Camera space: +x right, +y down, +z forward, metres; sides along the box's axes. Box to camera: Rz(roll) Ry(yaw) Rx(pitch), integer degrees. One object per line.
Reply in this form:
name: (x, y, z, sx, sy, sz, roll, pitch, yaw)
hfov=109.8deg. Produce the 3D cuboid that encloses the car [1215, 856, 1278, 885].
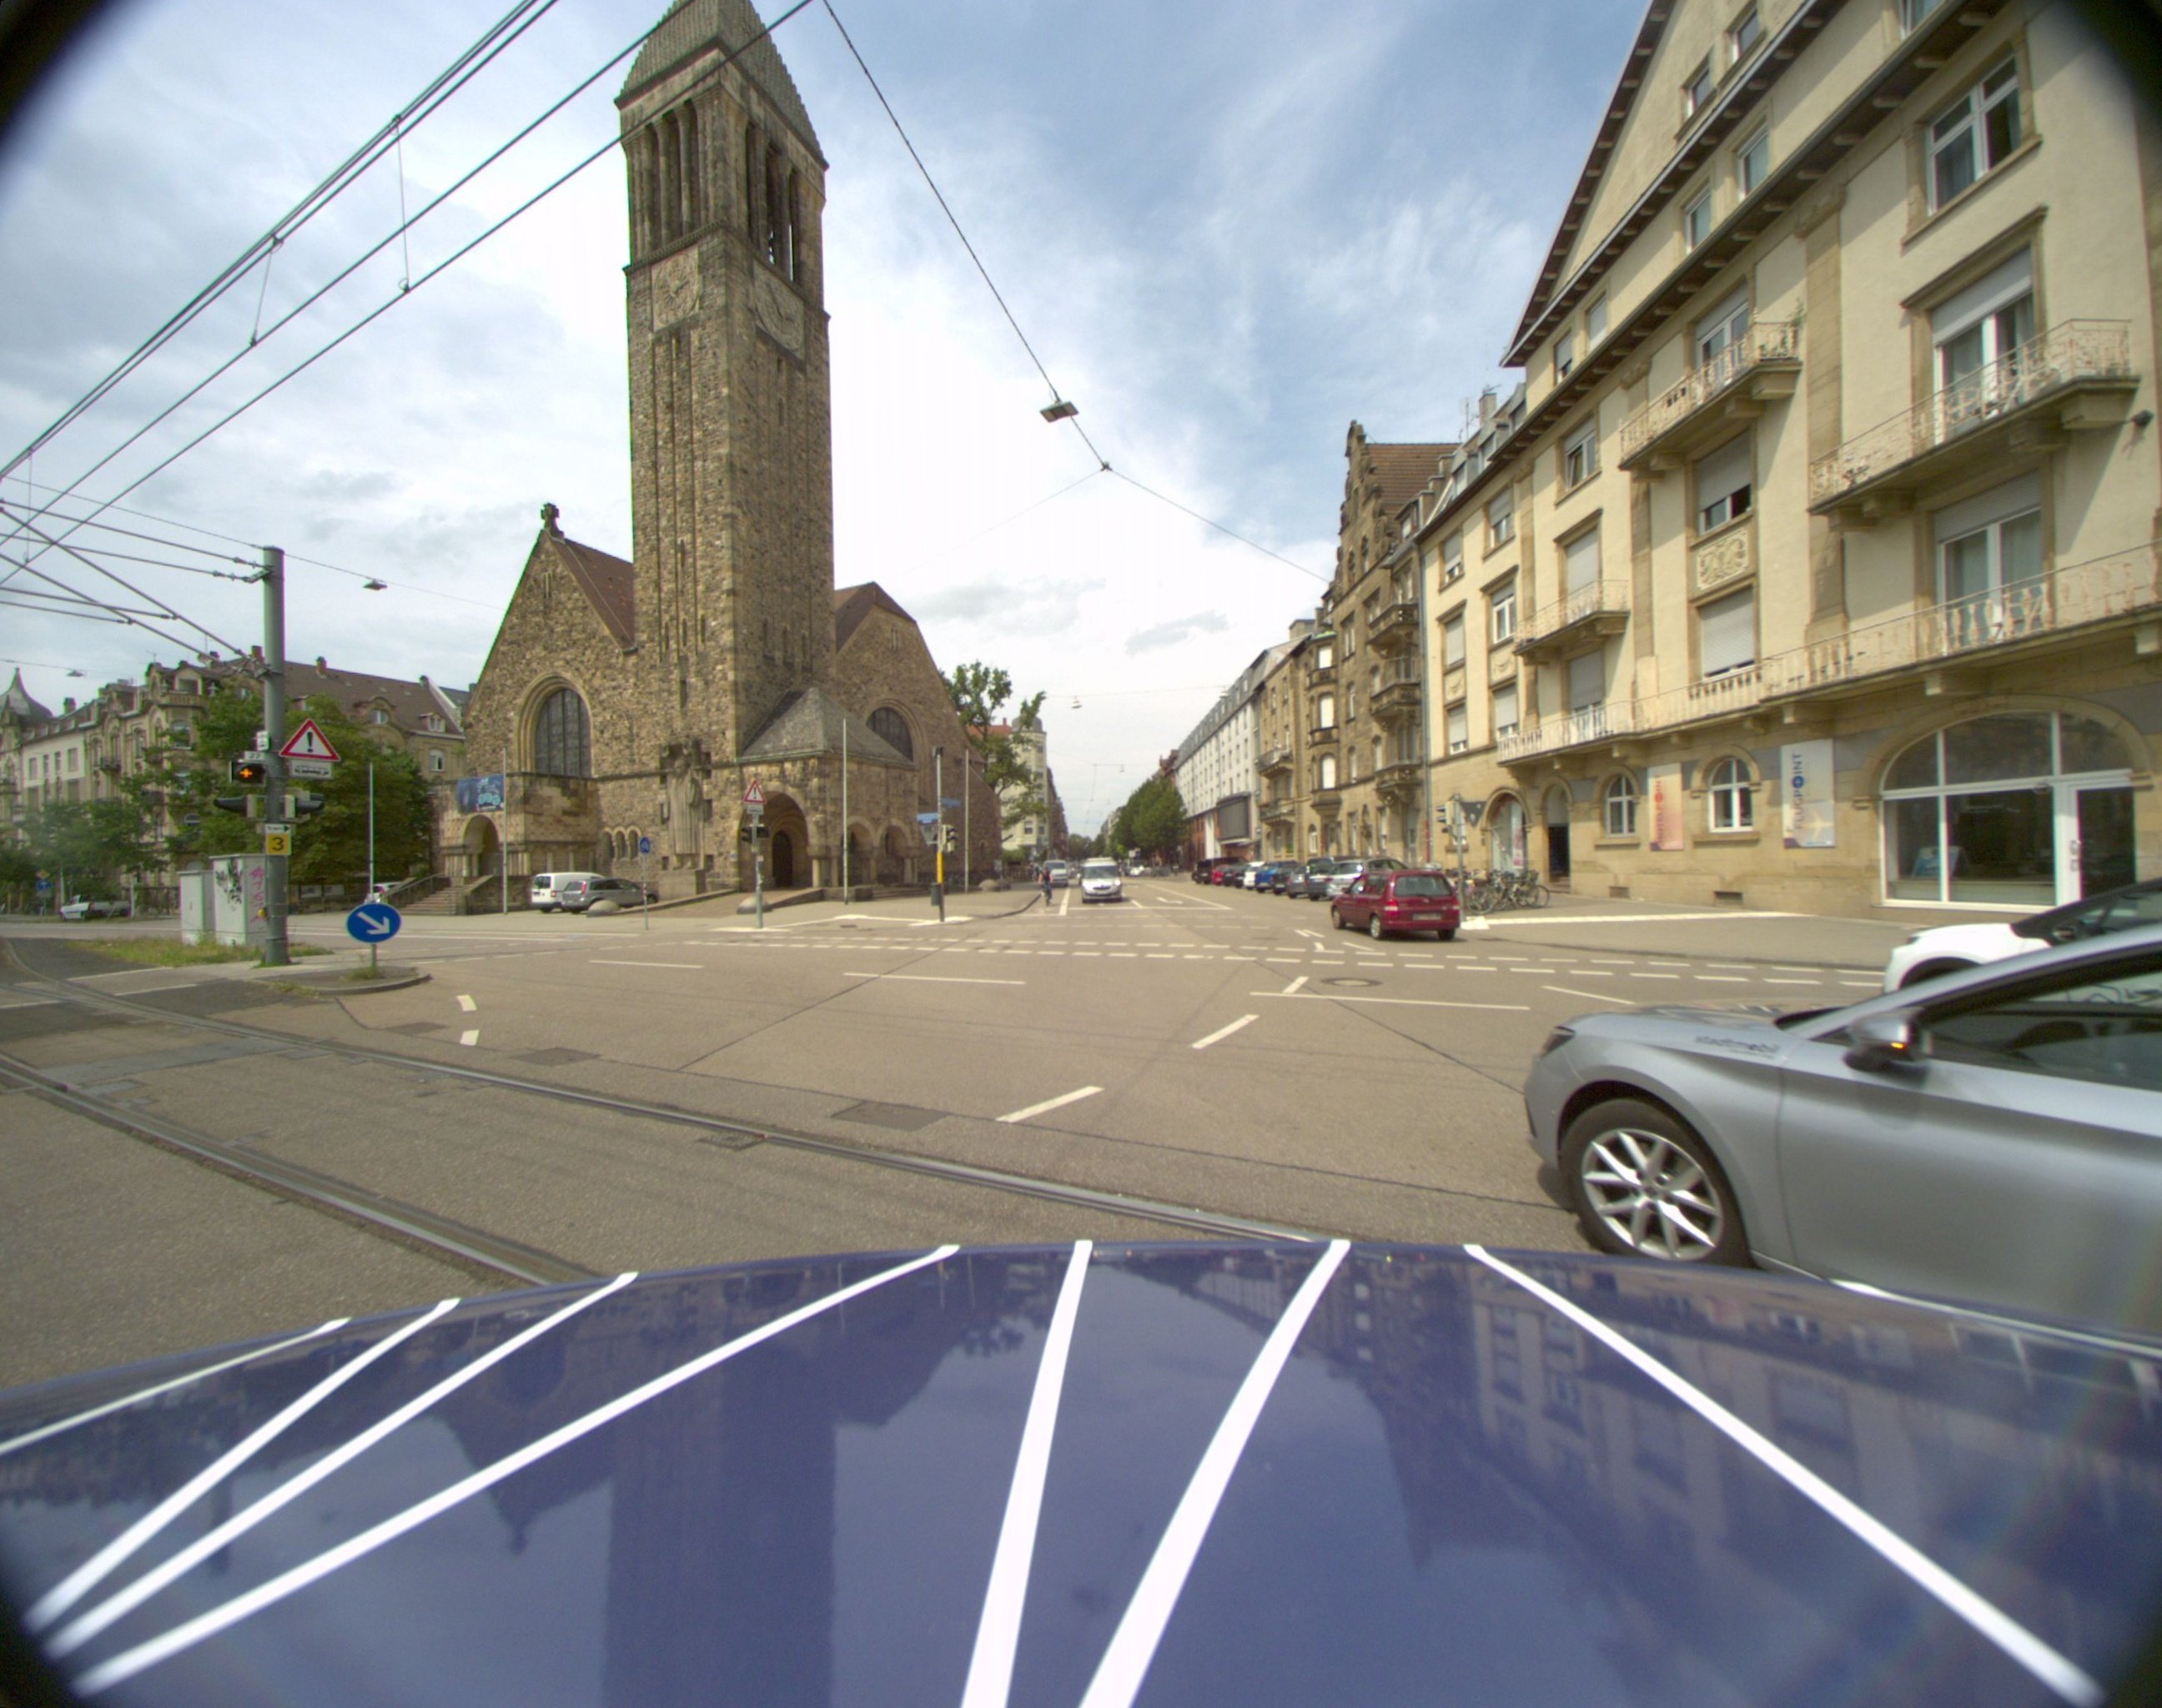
car: (10.754, 1.079, 49.306, 3.834, 1.526, 1.756, -4, -2, -35)

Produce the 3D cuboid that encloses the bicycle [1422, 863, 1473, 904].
bicycle: (11.452, 0.909, 23.738, 1.345, 1.185, 0.397, -4, 0, -5)

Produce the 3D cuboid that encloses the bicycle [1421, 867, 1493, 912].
bicycle: (10.604, 0.998, 21.460, 1.821, 1.185, 0.397, -3, 0, -3)

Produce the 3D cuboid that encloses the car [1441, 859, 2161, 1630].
car: (3.067, 0.787, 1.491, 1.769, 1.515, 4.843, -1, 0, -10)

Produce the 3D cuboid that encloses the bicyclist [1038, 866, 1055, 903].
bicyclist: (-1.475, 1.297, 32.506, 0.588, 1.488, 0.840, -4, 0, 1)

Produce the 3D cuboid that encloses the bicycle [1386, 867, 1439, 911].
bicycle: (9.952, 1.048, 22.826, 1.345, 1.185, 0.397, -5, 0, -6)

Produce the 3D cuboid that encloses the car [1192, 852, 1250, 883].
car: (10.103, 0.951, 54.747, 3.834, 1.882, 1.756, -4, -1, -35)

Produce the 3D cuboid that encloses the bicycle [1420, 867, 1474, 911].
bicycle: (10.675, 1.001, 22.171, 1.345, 1.185, 0.397, -4, 0, -3)

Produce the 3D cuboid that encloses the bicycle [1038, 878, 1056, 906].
bicycle: (-1.469, 1.633, 32.739, 0.598, 1.079, 1.812, -4, 0, 1)

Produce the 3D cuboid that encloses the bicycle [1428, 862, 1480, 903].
bicycle: (11.400, 0.867, 23.231, 1.345, 1.185, 0.397, -2, 0, -2)

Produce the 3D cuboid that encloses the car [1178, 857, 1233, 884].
car: (9.476, 1.221, 57.719, 3.834, 1.675, 1.756, -4, -1, -35)

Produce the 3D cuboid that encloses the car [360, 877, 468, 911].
car: (-36.745, 2.175, 41.978, 1.995, 1.631, 3.961, -2, 0, 25)

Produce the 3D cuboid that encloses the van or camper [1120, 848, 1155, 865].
van or camper: (7.130, 0.275, 95.642, 4.000, 2.002, 1.999, -2, 0, -8)

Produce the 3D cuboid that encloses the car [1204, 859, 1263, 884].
car: (10.459, 1.180, 52.062, 3.835, 1.526, 1.755, -1, -1, -34)

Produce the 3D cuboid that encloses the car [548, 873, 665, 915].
car: (-21.277, 1.779, 34.243, 1.995, 1.641, 4.007, -2, 0, 25)

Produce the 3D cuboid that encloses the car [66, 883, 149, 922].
car: (-54.757, 2.713, 42.739, 3.990, 2.002, 2.003, -2, 0, 25)

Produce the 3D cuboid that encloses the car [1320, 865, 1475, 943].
car: (6.901, 1.017, 17.058, 1.768, 1.515, 4.000, 0, 0, -1)

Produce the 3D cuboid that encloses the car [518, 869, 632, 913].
car: (-23.774, 1.705, 35.837, 1.995, 1.870, 3.961, -2, 0, 25)

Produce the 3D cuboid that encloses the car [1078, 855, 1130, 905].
car: (0.976, 1.080, 33.620, 2.082, 2.039, 4.681, -2, 0, 1)

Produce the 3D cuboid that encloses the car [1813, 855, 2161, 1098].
car: (7.352, 0.730, 4.549, 1.739, 1.423, 4.241, -2, -1, -2)

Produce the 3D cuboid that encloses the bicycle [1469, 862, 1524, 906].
bicycle: (12.142, 0.875, 22.227, 1.345, 1.185, 0.397, -5, 0, -6)

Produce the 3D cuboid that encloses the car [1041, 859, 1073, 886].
car: (-1.741, 1.304, 56.140, 2.082, 1.852, 4.681, -2, 0, 1)

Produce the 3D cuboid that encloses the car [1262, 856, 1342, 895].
car: (10.767, 1.032, 36.932, 3.834, 1.526, 1.755, -4, -2, -39)

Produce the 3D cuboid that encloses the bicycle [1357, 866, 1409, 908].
bicycle: (9.367, 1.005, 23.583, 1.345, 1.185, 0.397, -5, 0, -1)

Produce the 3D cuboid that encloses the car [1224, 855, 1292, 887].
car: (10.754, 1.025, 46.104, 3.834, 1.526, 1.756, -4, -2, -35)

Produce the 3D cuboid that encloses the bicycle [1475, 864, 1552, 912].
bicycle: (11.954, 0.931, 21.004, 1.830, 1.185, 0.397, -4, -1, -1)

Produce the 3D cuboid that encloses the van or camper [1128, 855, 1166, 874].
van or camper: (7.532, 1.200, 86.985, 3.998, 2.002, 2.000, -2, 0, -3)

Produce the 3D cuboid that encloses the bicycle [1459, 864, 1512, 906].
bicycle: (12.077, 0.917, 22.708, 1.345, 1.185, 0.397, -2, 0, -1)

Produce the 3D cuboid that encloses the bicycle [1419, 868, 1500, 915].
bicycle: (10.144, 1.018, 20.405, 1.872, 1.185, 0.456, -2, 0, 19)

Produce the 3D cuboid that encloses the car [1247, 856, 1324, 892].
car: (10.748, 1.035, 39.854, 3.834, 1.526, 1.756, -4, -2, -35)

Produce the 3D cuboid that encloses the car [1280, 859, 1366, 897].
car: (10.749, 1.044, 33.718, 3.835, 1.526, 1.755, -2, -1, -39)

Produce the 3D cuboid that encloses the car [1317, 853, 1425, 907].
car: (10.626, 0.923, 27.759, 4.043, 1.579, 1.755, -4, -2, -39)

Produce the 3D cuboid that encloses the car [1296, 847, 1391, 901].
car: (10.781, 0.803, 31.067, 3.834, 1.808, 1.755, -4, -2, -39)

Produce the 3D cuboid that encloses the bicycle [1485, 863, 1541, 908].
bicycle: (12.304, 0.889, 21.645, 1.345, 1.185, 0.397, -5, 0, -6)

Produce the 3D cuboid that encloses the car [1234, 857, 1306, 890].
car: (10.799, 1.116, 43.387, 3.834, 1.526, 1.756, -4, -2, -35)
